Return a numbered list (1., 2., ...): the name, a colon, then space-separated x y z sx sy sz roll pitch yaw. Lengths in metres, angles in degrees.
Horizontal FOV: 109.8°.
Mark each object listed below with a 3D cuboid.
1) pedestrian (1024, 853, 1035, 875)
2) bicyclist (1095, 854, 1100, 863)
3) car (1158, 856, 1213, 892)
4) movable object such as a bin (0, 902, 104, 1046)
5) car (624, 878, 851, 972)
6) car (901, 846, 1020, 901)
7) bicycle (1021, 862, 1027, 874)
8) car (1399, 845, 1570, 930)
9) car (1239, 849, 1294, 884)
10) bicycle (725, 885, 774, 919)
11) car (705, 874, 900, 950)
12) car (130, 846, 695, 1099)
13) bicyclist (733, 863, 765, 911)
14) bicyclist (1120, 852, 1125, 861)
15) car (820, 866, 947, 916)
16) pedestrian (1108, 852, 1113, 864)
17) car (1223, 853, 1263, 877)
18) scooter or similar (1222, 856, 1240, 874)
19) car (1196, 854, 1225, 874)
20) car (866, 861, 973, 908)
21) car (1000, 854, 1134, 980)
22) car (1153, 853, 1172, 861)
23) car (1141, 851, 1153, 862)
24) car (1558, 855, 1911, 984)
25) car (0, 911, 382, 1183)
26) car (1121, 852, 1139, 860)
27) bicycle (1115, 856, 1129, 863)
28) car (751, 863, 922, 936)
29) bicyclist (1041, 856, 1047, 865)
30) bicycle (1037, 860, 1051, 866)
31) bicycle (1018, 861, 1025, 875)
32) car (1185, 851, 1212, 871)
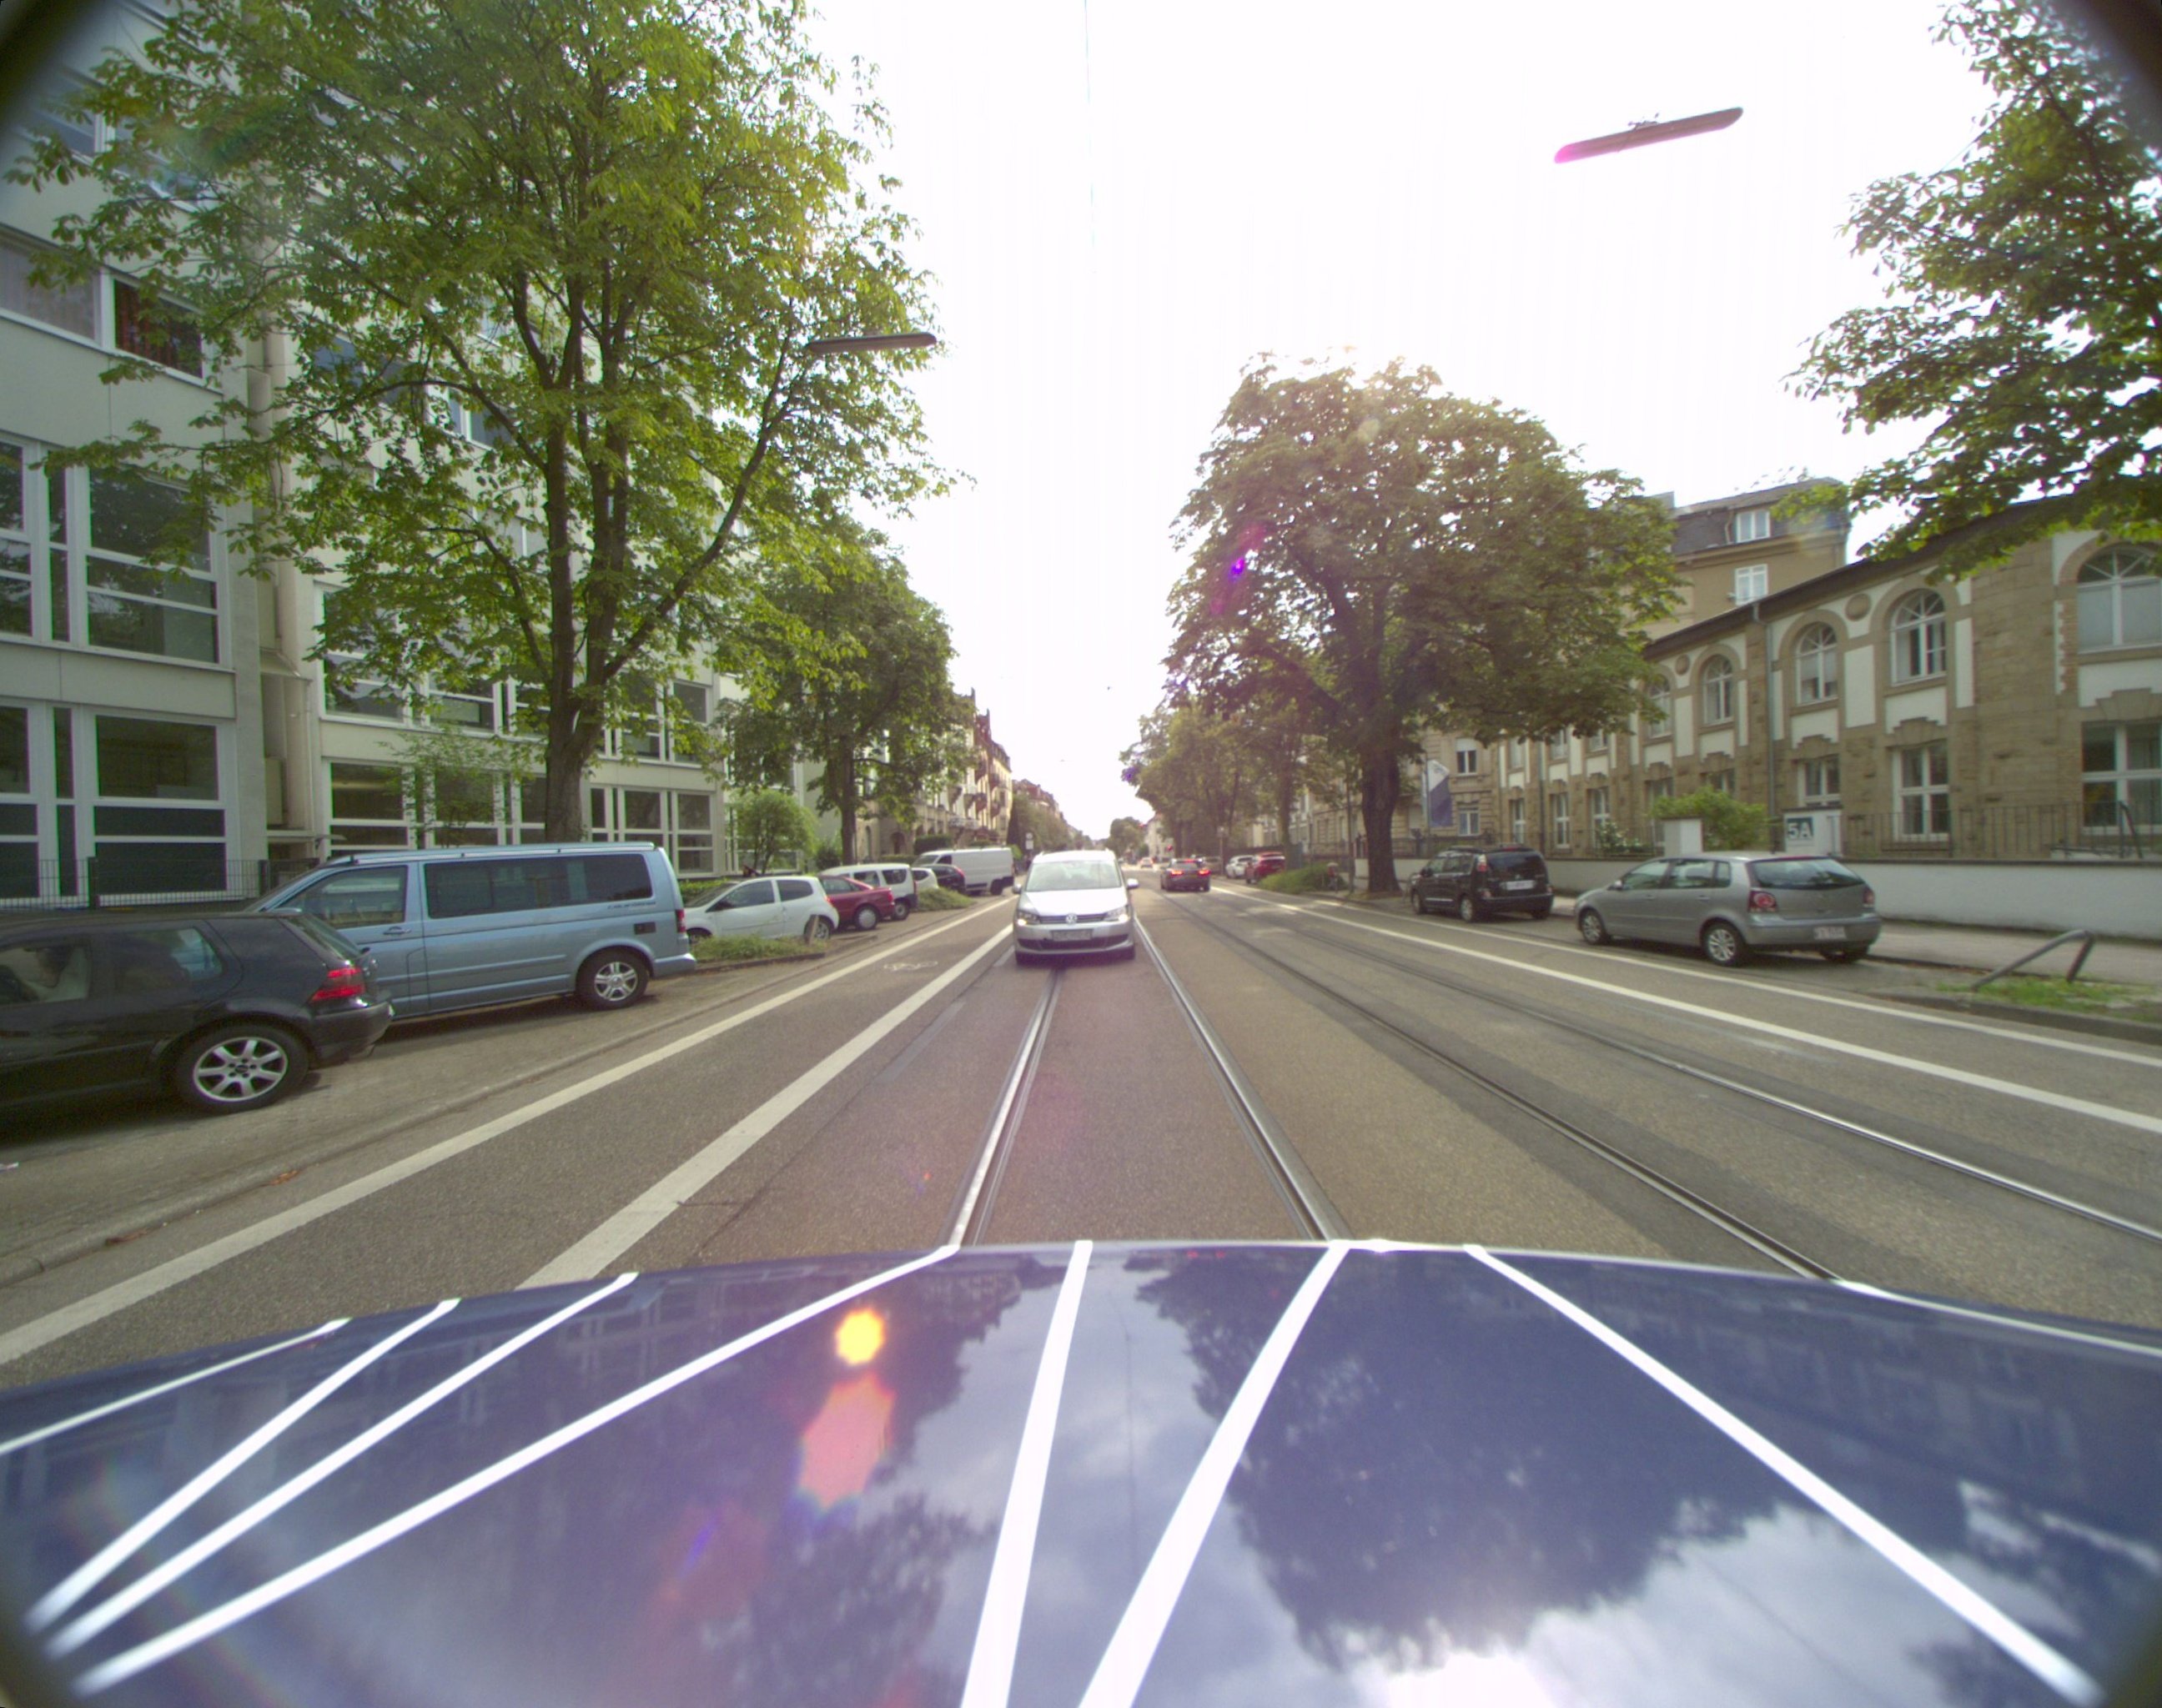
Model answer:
1. pedestrian: -4.244 0.822 62.769 0.787 1.723 0.896 1 0 1
2. bicyclist: 2.656 0.691 122.854 0.571 1.366 0.615 -2 1 9
3. car: 4.615 0.835 34.176 1.839 1.439 4.553 -2 0 1
4. movable object such as a bin: -12.168 1.340 8.353 1.072 1.499 1.323 -3 0 2
5. car: -6.747 1.299 15.143 3.723 1.424 1.685 -3 1 -43
6. car: -5.605 0.850 35.710 4.968 2.277 2.378 -3 1 -41
7. bicycle: -5.175 1.258 69.425 0.392 1.096 1.759 0 0 2
8. car: 9.039 0.677 17.441 1.760 1.637 4.052 -3 0 1
9. car: 9.787 0.625 40.358 1.725 1.645 4.542 -4 0 0
10. bicycle: -10.338 1.483 23.772 0.690 0.957 2.036 0 0 -1
11. car: -6.586 1.300 18.180 3.983 1.424 1.685 -3 1 -41
12. car: -6.947 1.001 8.478 4.284 2.003 1.826 -3 1 -43
13. bicyclist: -10.329 1.024 23.680 0.649 1.461 0.800 0 0 -1
14. bicyclist: 6.686 0.455 123.454 0.710 1.421 0.615 -2 1 10
15. car: -7.094 1.291 27.551 4.100 1.502 1.685 -3 1 -43
16. pedestrian: 4.474 0.613 115.755 0.721 1.651 0.759 2 0 -2
17. car: 10.398 0.673 49.015 1.725 1.415 4.023 -4 0 0
18. scooter or similar: 10.316 0.763 52.225 0.563 1.216 1.321 -2 0 -22
19. car: 10.072 0.764 59.264 1.604 1.459 4.079 -2 0 1
20. car: -6.599 1.208 31.275 3.968 1.639 1.685 -3 1 -43
21. car: -0.109 0.876 12.686 1.767 1.661 4.330 -3 0 2
22. car: 18.527 0.709 172.281 3.990 1.622 1.681 -2 0 27
23. car: 9.288 0.339 106.476 1.574 1.408 4.002 0 0 5
24. car: 8.869 0.777 10.834 1.697 1.419 3.868 -3 0 1
25. car: -7.289 1.285 4.989 1.672 1.451 3.836 -2 1 45
26. car: 11.287 0.401 174.535 3.993 1.622 1.680 -2 0 12
27. bicycle: 6.707 0.910 123.445 2.197 1.019 0.615 -2 0 10
28. car: -6.671 1.175 21.031 4.116 1.658 1.685 -3 1 -44
29. bicyclist: -6.126 1.087 126.989 0.769 1.399 0.616 -2 1 23
30. bicycle: -6.147 1.541 126.999 2.195 1.019 0.616 -2 0 23
31. bicycle: -5.255 1.211 66.711 0.392 1.135 1.921 0 0 2
32. car: 10.292 0.604 66.819 1.714 1.664 4.357 -2 0 1
